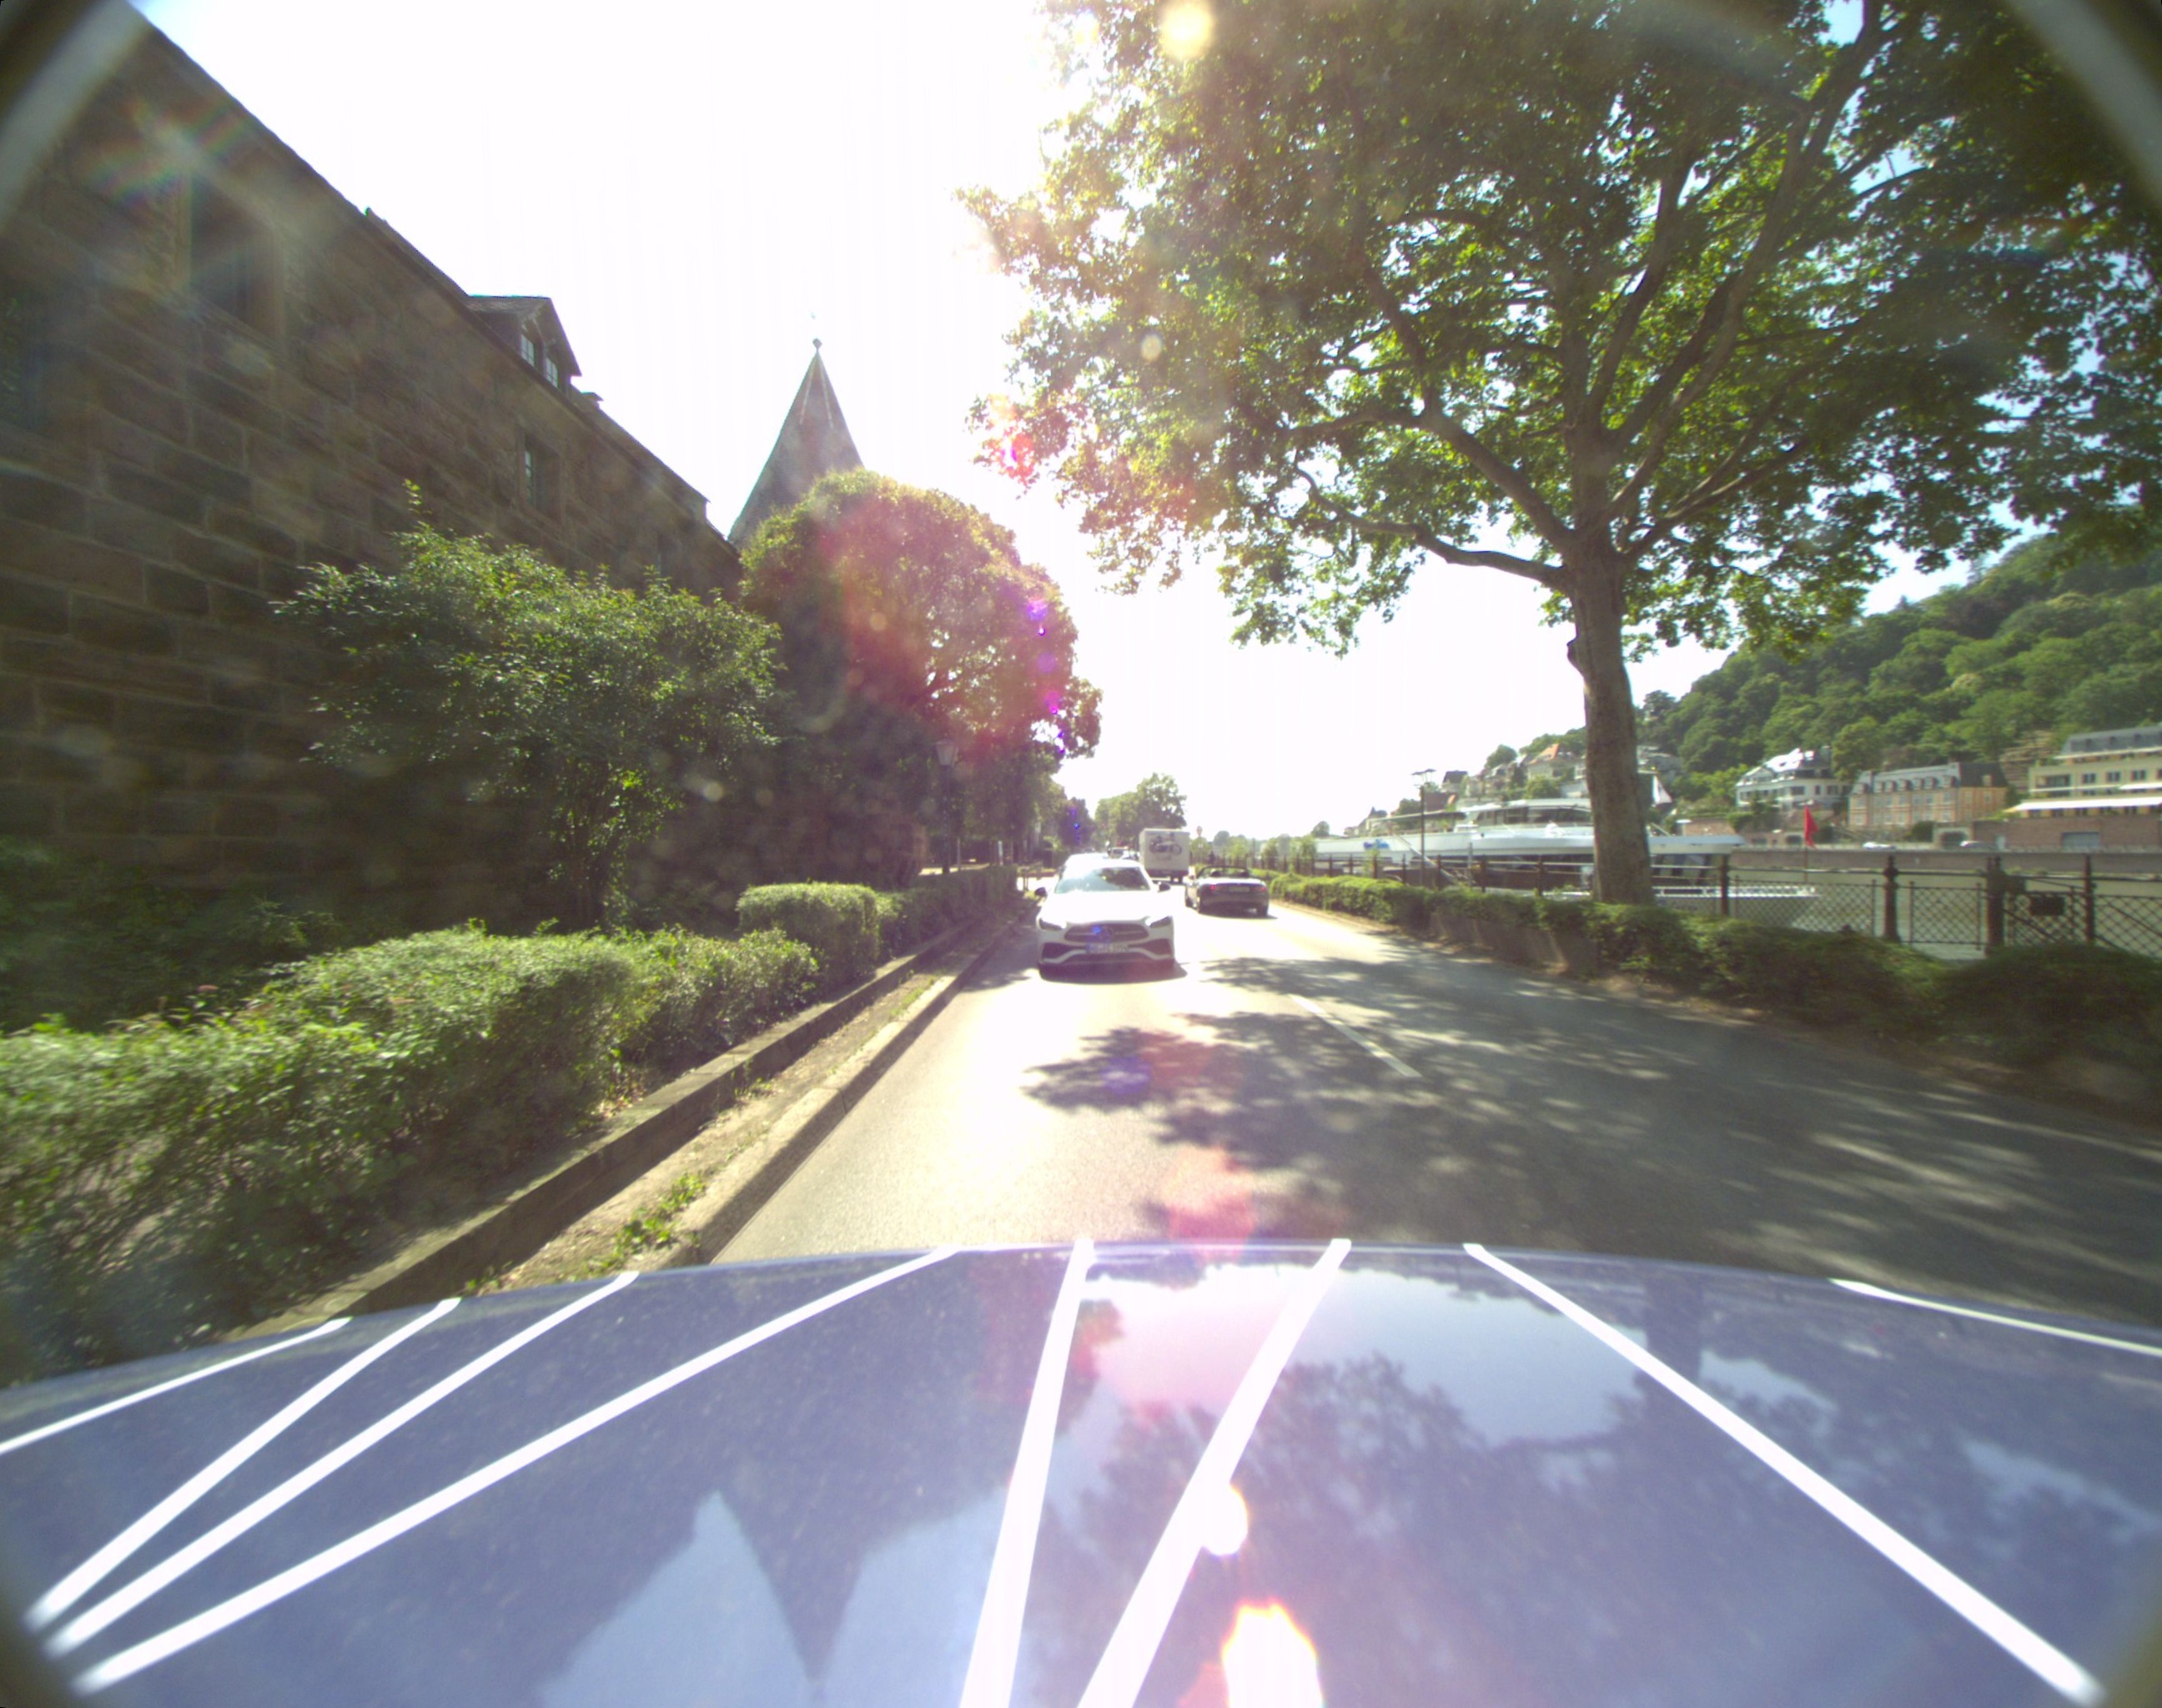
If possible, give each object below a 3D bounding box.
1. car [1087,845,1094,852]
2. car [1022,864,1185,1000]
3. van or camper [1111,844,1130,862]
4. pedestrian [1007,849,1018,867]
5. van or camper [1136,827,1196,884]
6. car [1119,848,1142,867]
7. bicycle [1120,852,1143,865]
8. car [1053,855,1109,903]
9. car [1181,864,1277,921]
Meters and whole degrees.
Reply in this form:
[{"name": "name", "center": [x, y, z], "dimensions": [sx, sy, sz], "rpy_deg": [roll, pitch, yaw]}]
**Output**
[{"name": "car", "center": [2.822, -1.700, 220.410], "dimensions": [1.923, 1.976, 4.000], "rpy_deg": [1, 1, 1]}, {"name": "car", "center": [0.269, 0.926, 10.870], "dimensions": [1.829, 1.418, 4.358], "rpy_deg": [-2, 0, 0]}, {"name": "van or camper", "center": [4.349, -0.131, 83.376], "dimensions": [1.923, 1.976, 4.000], "rpy_deg": [1, 1, 1]}, {"name": "pedestrian", "center": [-4.753, 0.278, 52.566], "dimensions": [0.632, 1.186, 0.747], "rpy_deg": [-2, 1, 3]}, {"name": "van or camper", "center": [4.280, 0.040, 39.363], "dimensions": [2.328, 2.647, 6.263], "rpy_deg": [1, 1, 0]}, {"name": "car", "center": [4.278, 0.315, 66.144], "dimensions": [1.826, 1.603, 3.959], "rpy_deg": [1, 0, 1]}, {"name": "bicycle", "center": [4.225, 0.369, 63.696], "dimensions": [1.873, 0.921, 0.955], "rpy_deg": [-2, 1, 2]}, {"name": "car", "center": [0.025, 0.829, 27.343], "dimensions": [1.854, 1.543, 3.848], "rpy_deg": [1, 1, 1]}, {"name": "car", "center": [3.709, 0.930, 19.609], "dimensions": [1.702, 1.204, 3.485], "rpy_deg": [2, 1, -1]}]
